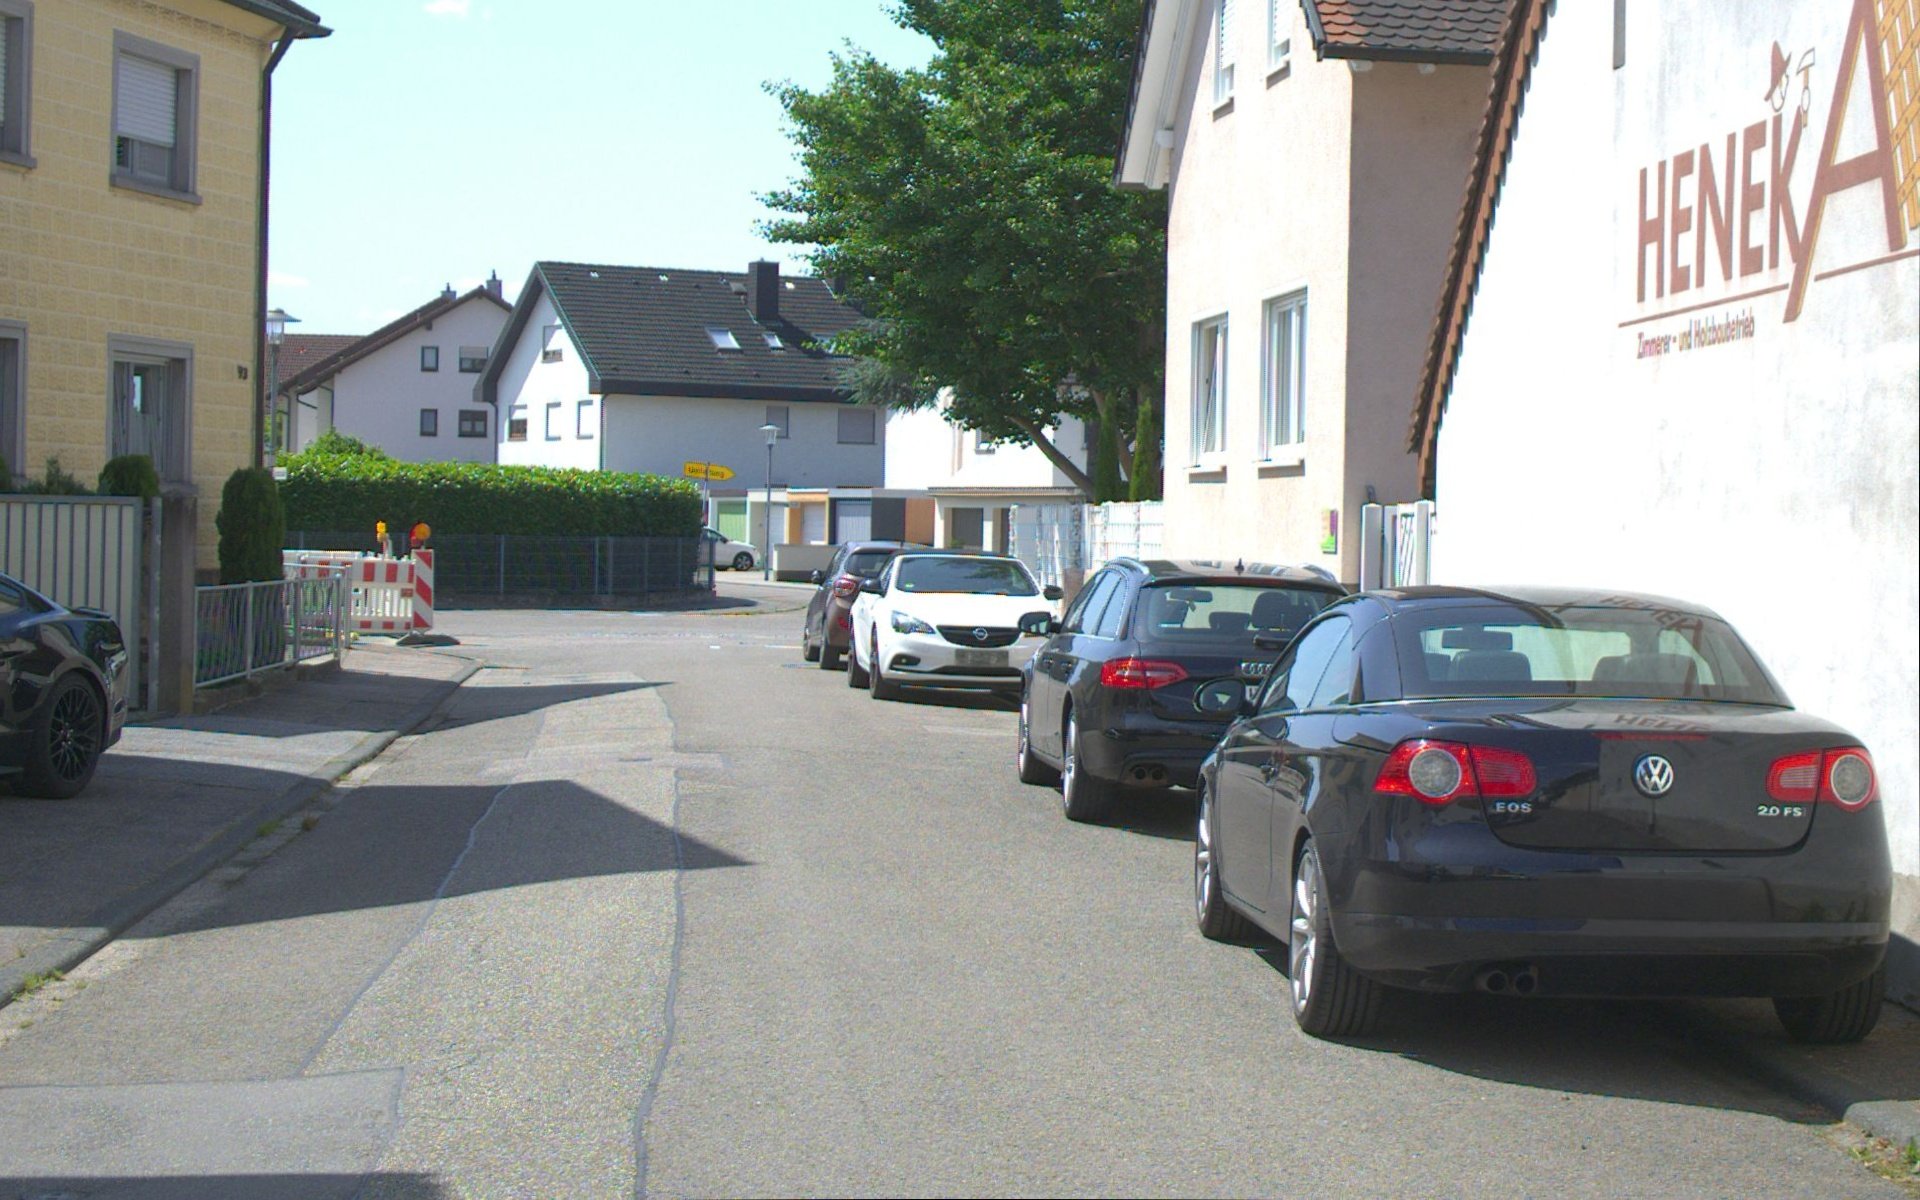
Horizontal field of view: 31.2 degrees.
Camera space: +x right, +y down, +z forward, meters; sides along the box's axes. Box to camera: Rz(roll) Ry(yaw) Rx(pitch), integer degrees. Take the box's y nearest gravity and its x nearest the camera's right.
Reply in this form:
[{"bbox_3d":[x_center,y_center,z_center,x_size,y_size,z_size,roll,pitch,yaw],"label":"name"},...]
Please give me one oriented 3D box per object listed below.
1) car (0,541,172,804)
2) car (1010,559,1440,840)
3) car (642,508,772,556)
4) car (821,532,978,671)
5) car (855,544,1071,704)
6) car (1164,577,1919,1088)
[{"bbox_3d":[-5.848,0.352,17.513,1.771,1.345,4.467,2,1,13],"label":"car"},{"bbox_3d":[1.389,0.484,19.944,1.895,1.360,4.738,1,1,-3],"label":"car"},{"bbox_3d":[-7.824,-2.097,106.284,3.598,1.403,1.784,0,1,-27],"label":"car"},{"bbox_3d":[-0.763,-0.023,40.770,1.712,1.527,4.036,1,1,-3],"label":"car"},{"bbox_3d":[-0.045,0.182,34.082,1.895,1.424,4.738,1,1,-3],"label":"car"},{"bbox_3d":[1.898,0.649,11.956,1.895,1.360,4.415,1,1,-3],"label":"car"}]
